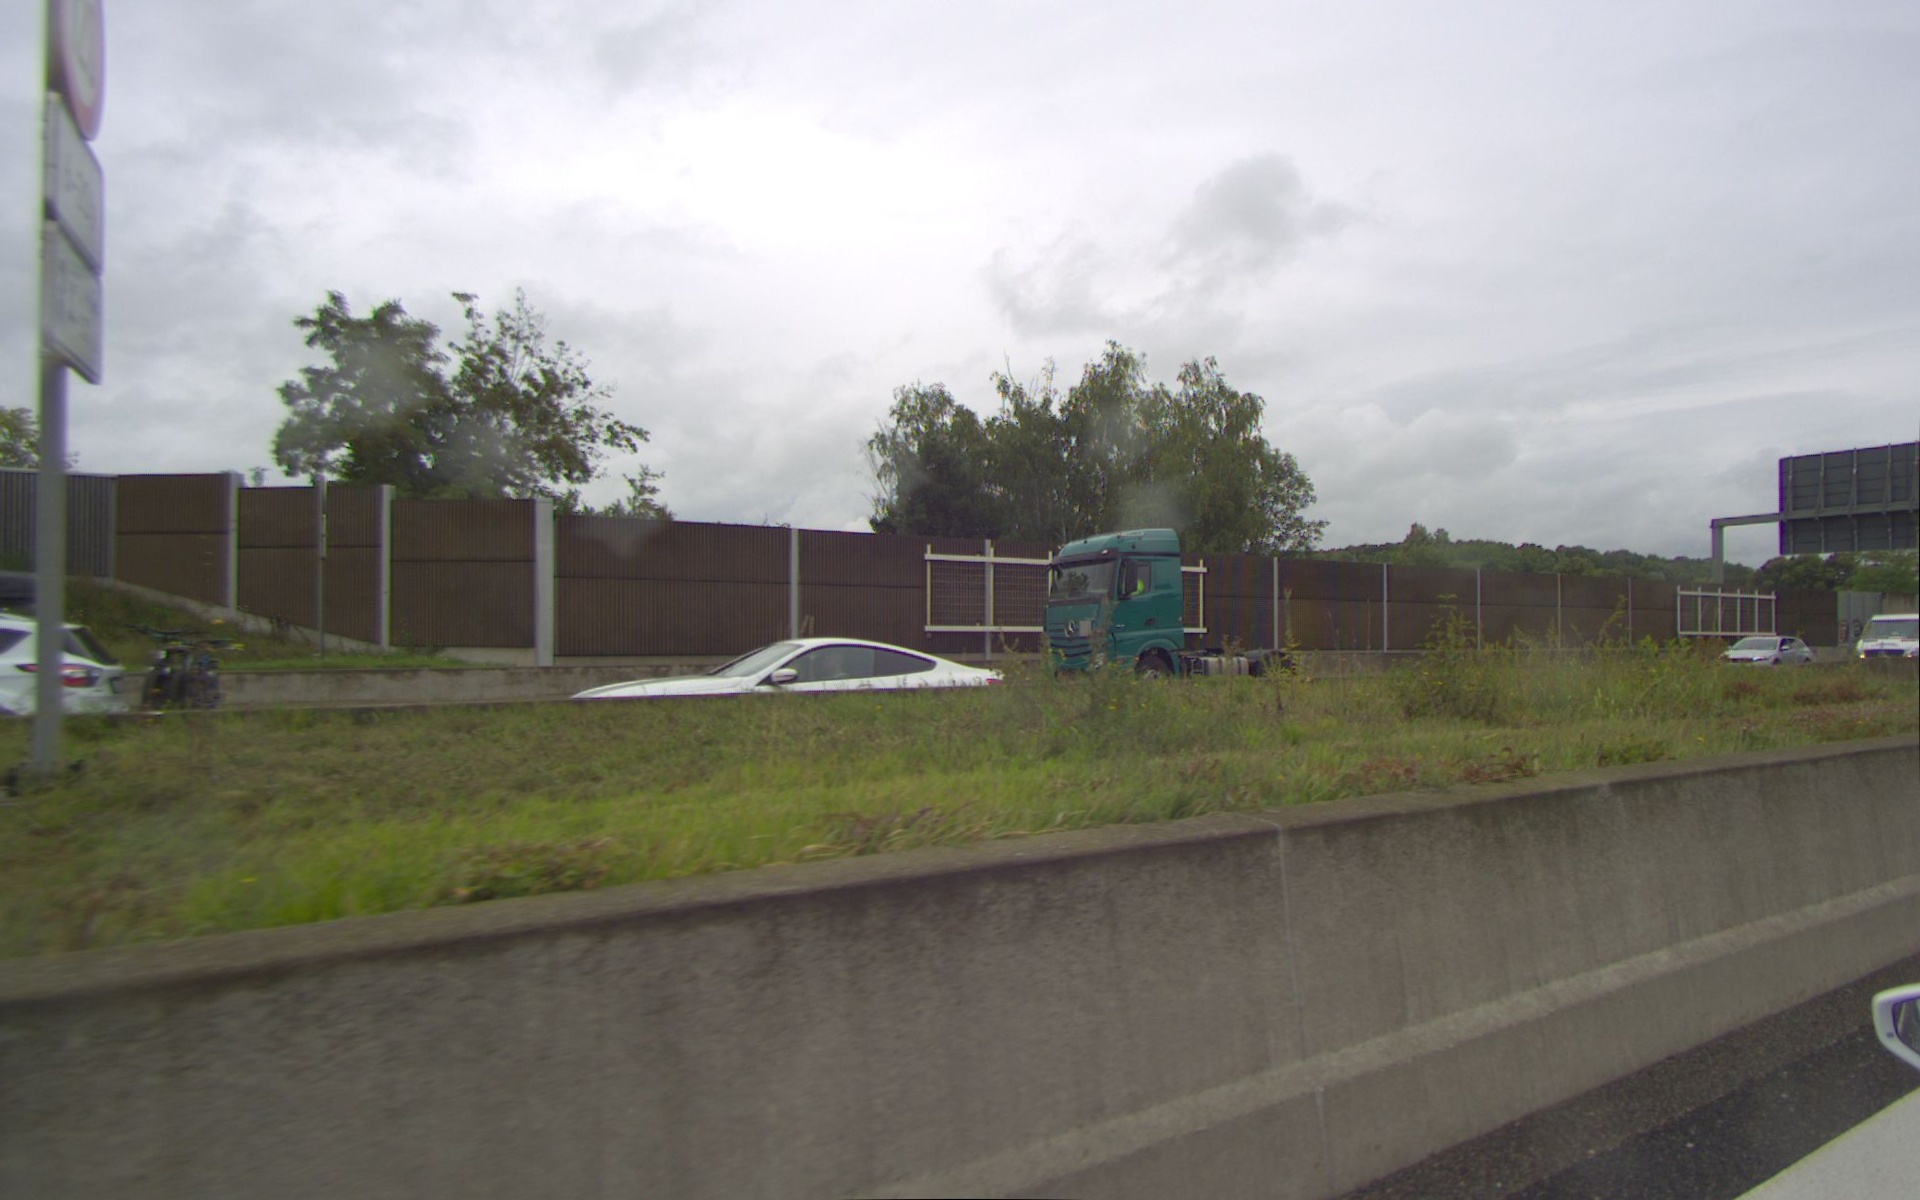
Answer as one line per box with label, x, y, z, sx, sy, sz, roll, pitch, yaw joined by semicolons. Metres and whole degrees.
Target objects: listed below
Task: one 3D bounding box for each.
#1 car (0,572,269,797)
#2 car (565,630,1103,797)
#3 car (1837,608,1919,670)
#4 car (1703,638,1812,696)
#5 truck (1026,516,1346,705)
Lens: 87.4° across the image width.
car;-9.982;0.744;9.465;5.555;2.040;1.983;1;0;-32
car;-1.178;1.000;10.385;5.167;1.304;1.984;1;0;-31
car;34.525;1.389;36.254;6.975;2.040;2.203;1;0;-30
car;30.085;2.466;37.880;3.954;2.007;1.983;1;0;-31
truck;5.471;0.275;23.809;7.436;3.889;2.848;1;1;-31
